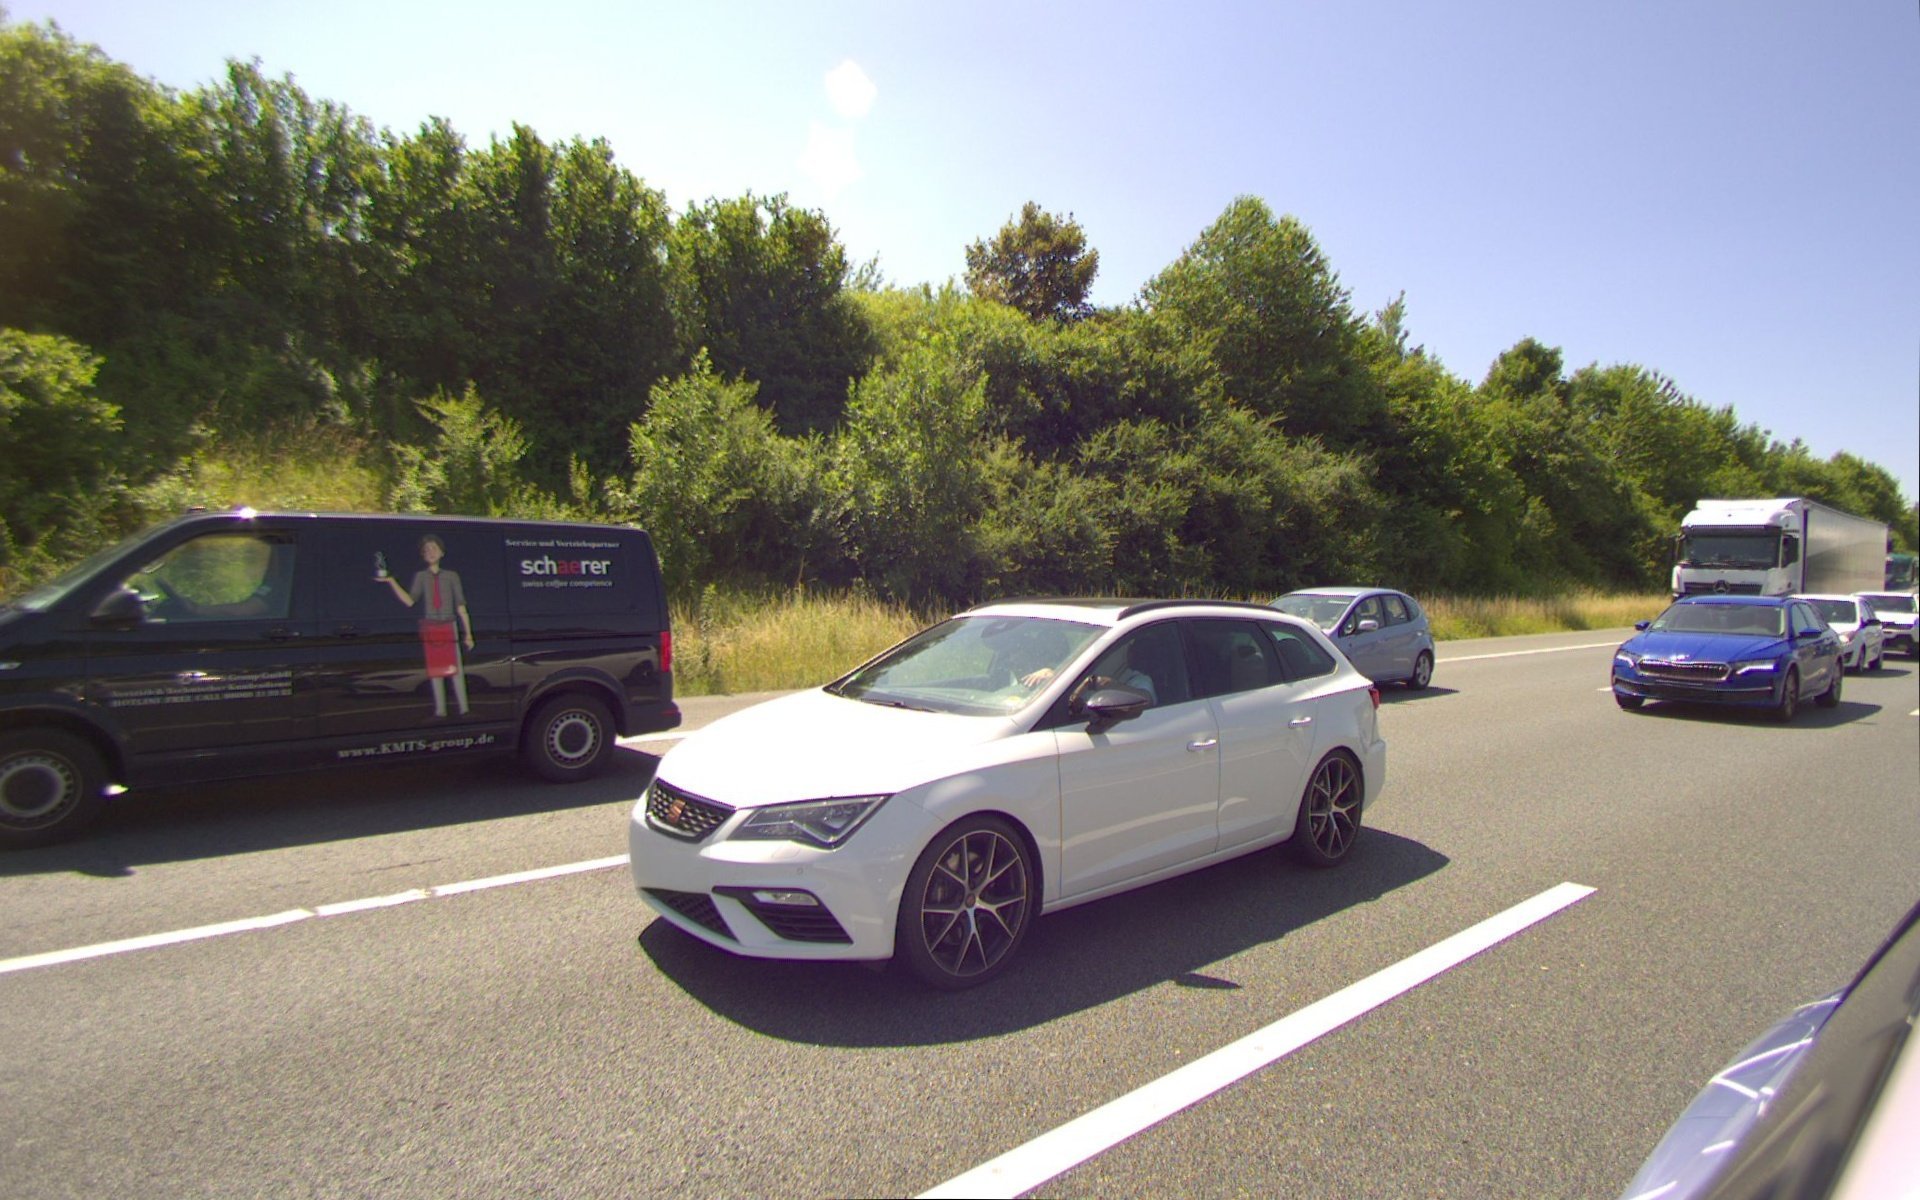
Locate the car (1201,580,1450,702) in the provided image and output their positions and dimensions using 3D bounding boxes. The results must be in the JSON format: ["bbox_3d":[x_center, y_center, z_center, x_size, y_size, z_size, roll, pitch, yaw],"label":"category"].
[{"bbox_3d":[5.325,0.485,14.544,3.853,1.479,1.665,0,2,-41],"label":"car"}]

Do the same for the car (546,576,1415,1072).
[{"bbox_3d":[0.390,0.625,5.055,4.237,1.461,1.751,-1,2,-40],"label":"car"}]

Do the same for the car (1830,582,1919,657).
[{"bbox_3d":[22.114,0.411,23.881,3.816,1.577,1.748,-1,3,-40],"label":"car"}]

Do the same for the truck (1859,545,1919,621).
[{"bbox_3d":[42.064,-0.755,44.959,5.573,3.185,2.299,-1,1,-39],"label":"truck"}]

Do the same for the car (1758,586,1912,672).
[{"bbox_3d":[17.138,0.482,19.782,3.741,1.451,1.609,-1,3,-39],"label":"car"}]

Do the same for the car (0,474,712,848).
[{"bbox_3d":[-4.373,0.270,7.116,4.770,1.964,1.918,-1,2,-40],"label":"car"}]

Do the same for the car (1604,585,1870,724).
[{"bbox_3d":[10.204,0.565,13.167,4.491,1.434,1.780,-1,3,-40],"label":"car"}]

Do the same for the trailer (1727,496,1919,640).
[{"bbox_3d":[29.656,-1.032,34.442,11.858,4.208,2.880,-1,1,-39],"label":"trailer"}]

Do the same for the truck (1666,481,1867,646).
[{"bbox_3d":[23.776,-1.000,29.648,8.322,4.208,2.880,-1,1,-39],"label":"truck"}]
